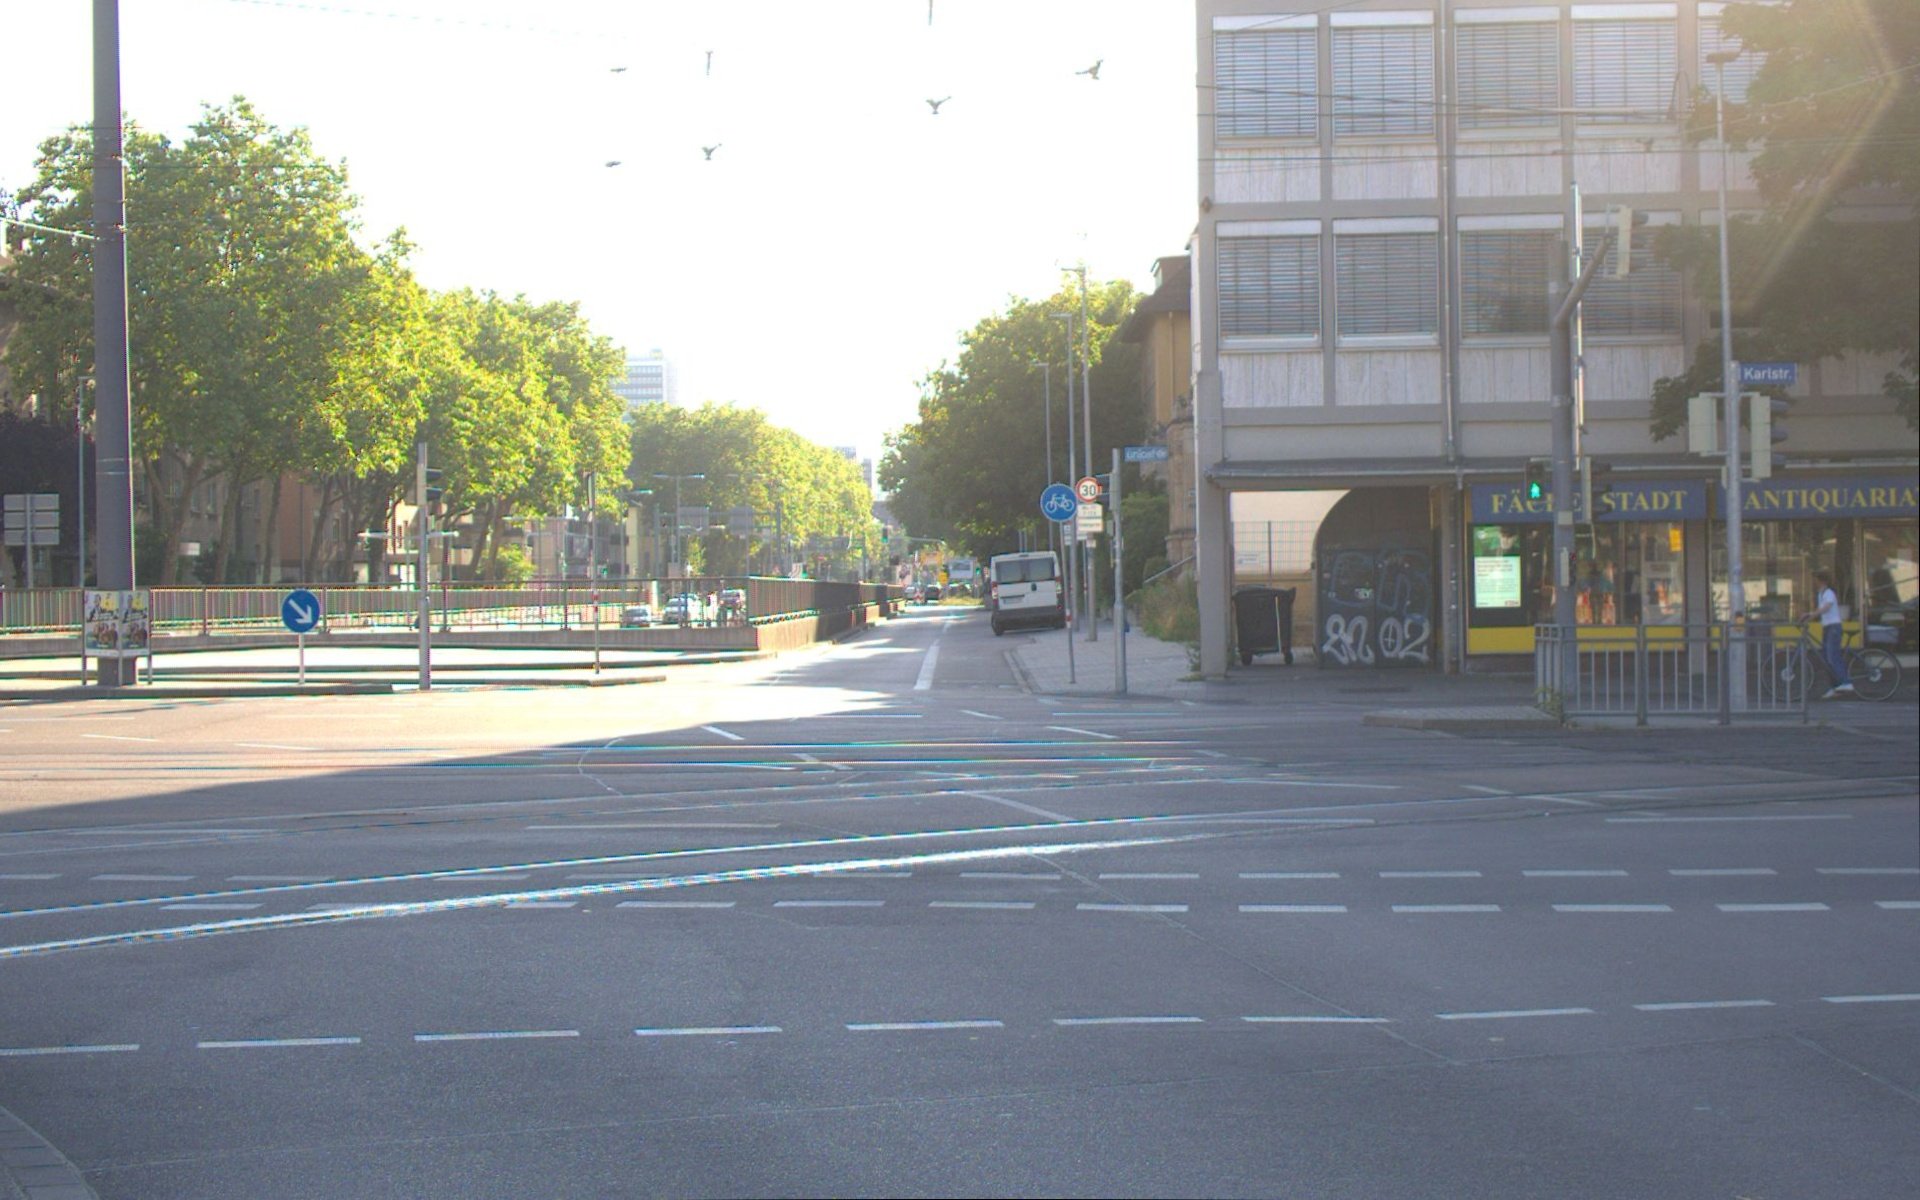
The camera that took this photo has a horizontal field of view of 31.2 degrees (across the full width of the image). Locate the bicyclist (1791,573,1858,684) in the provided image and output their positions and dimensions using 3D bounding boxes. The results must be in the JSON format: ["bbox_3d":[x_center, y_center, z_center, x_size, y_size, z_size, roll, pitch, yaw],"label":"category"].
[{"bbox_3d":[11.229,0.366,44.674,0.679,1.419,0.671,1,0,-1],"label":"bicyclist"}]

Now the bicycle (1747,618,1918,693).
[{"bbox_3d":[11.330,0.718,44.672,2.024,0.937,0.671,1,0,-1],"label":"bicycle"}]

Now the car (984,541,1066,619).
[{"bbox_3d":[1.925,-0.573,100.373,2.286,2.165,4.833,1,0,2],"label":"car"}]
